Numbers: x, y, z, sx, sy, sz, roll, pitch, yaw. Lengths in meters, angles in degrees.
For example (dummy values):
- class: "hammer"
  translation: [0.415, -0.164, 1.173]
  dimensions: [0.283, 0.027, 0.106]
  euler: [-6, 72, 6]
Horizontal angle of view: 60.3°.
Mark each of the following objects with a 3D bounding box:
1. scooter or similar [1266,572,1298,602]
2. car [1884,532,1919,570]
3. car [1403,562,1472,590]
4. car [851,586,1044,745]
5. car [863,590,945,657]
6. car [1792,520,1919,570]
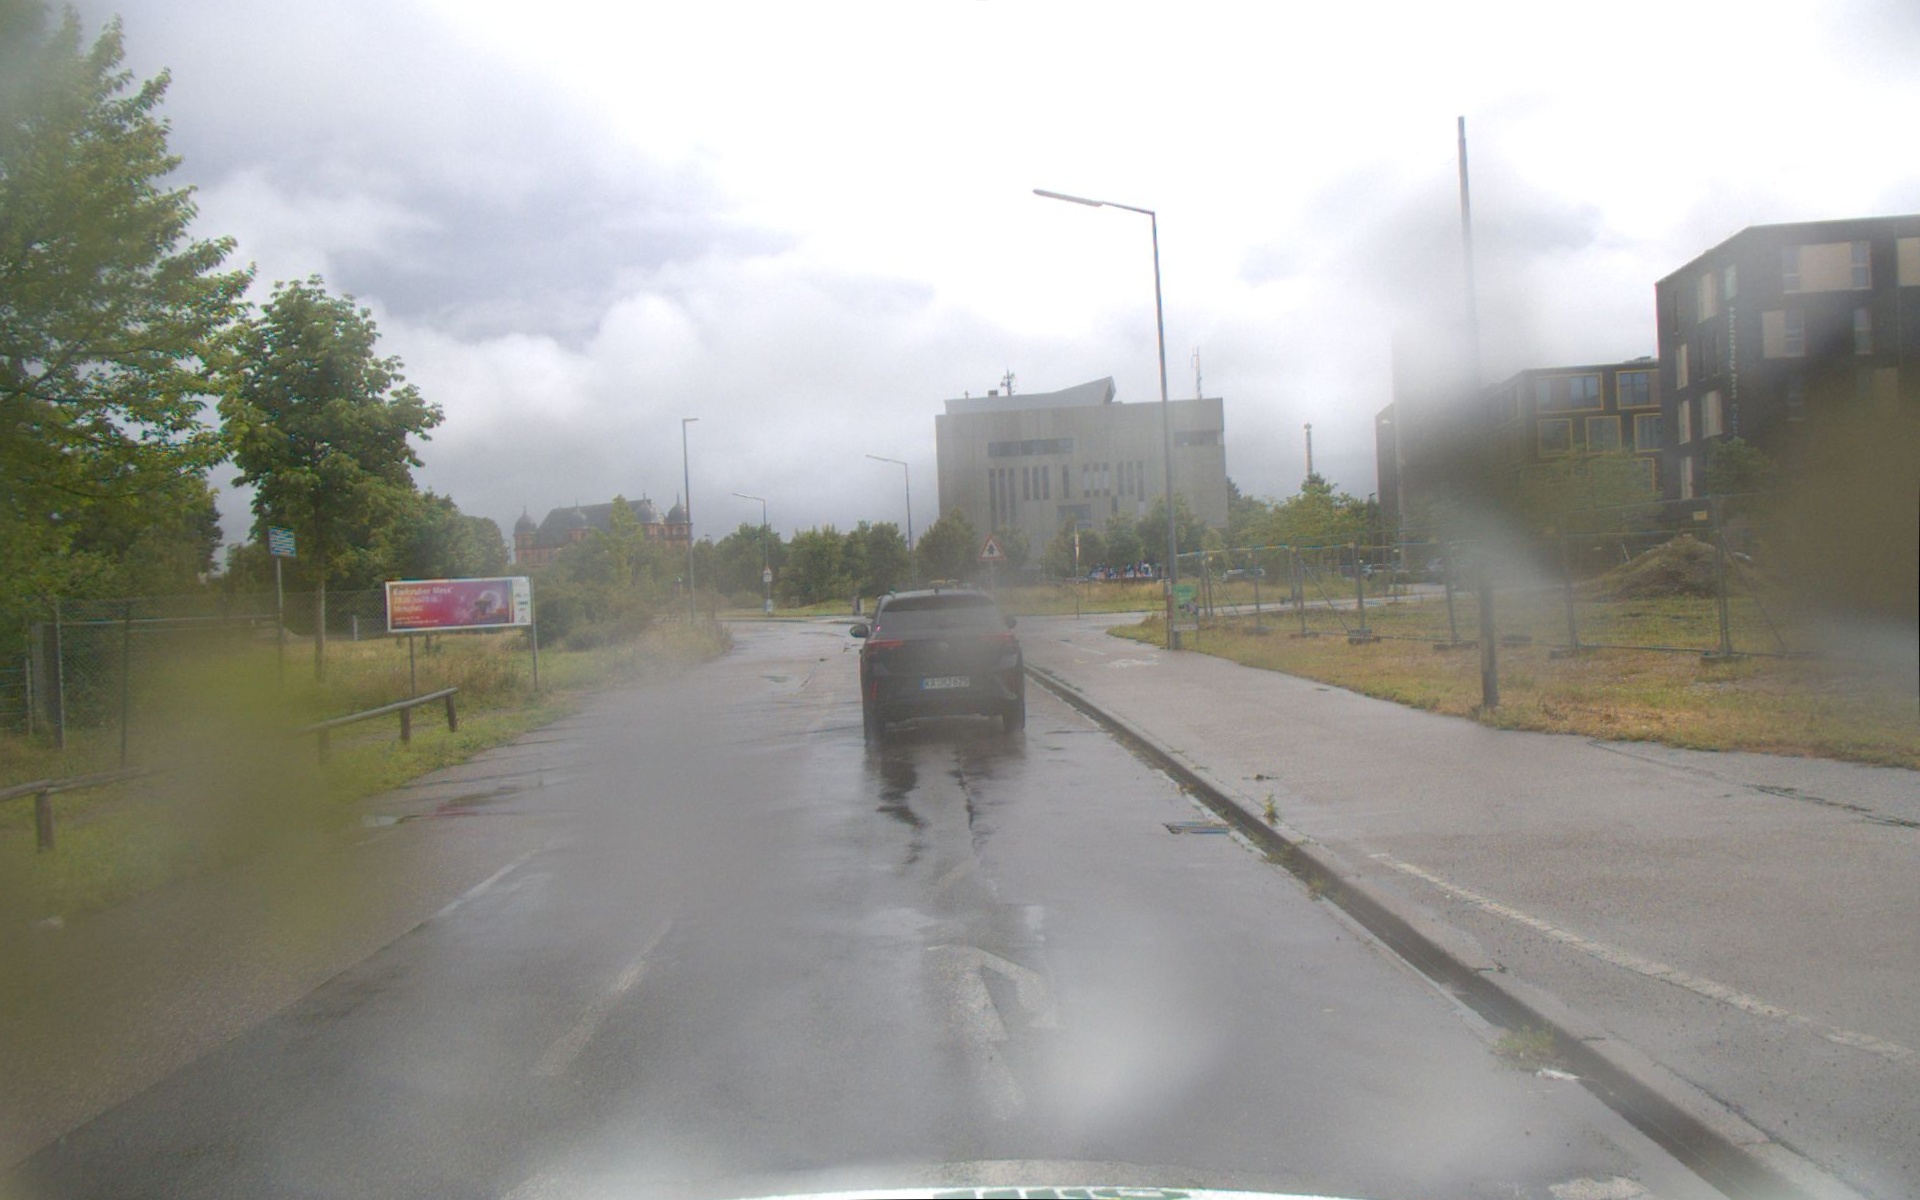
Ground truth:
- class: "scooter or similar"
  translation: [13.924, -0.574, 71.588]
  dimensions: [1.263, 1.207, 0.499]
  euler: [-5, 2, -24]
- class: "car"
  translation: [40.721, -2.064, 69.673]
  dimensions: [1.742, 1.554, 3.845]
  euler: [0, 1, 6]
- class: "car"
  translation: [31.352, -1.569, 108.610]
  dimensions: [4.116, 1.584, 1.668]
  euler: [-4, 0, 10]
- class: "car"
  translation: [-0.207, 0.651, 18.782]
  dimensions: [1.947, 1.546, 3.998]
  euler: [-1, 1, -2]
- class: "car"
  translation: [-1.499, 0.569, 43.011]
  dimensions: [1.806, 1.466, 3.996]
  euler: [-5, 1, -5]
- class: "car"
  translation: [32.567, -1.964, 59.896]
  dimensions: [3.903, 1.758, 2.001]
  euler: [0, 1, 3]
